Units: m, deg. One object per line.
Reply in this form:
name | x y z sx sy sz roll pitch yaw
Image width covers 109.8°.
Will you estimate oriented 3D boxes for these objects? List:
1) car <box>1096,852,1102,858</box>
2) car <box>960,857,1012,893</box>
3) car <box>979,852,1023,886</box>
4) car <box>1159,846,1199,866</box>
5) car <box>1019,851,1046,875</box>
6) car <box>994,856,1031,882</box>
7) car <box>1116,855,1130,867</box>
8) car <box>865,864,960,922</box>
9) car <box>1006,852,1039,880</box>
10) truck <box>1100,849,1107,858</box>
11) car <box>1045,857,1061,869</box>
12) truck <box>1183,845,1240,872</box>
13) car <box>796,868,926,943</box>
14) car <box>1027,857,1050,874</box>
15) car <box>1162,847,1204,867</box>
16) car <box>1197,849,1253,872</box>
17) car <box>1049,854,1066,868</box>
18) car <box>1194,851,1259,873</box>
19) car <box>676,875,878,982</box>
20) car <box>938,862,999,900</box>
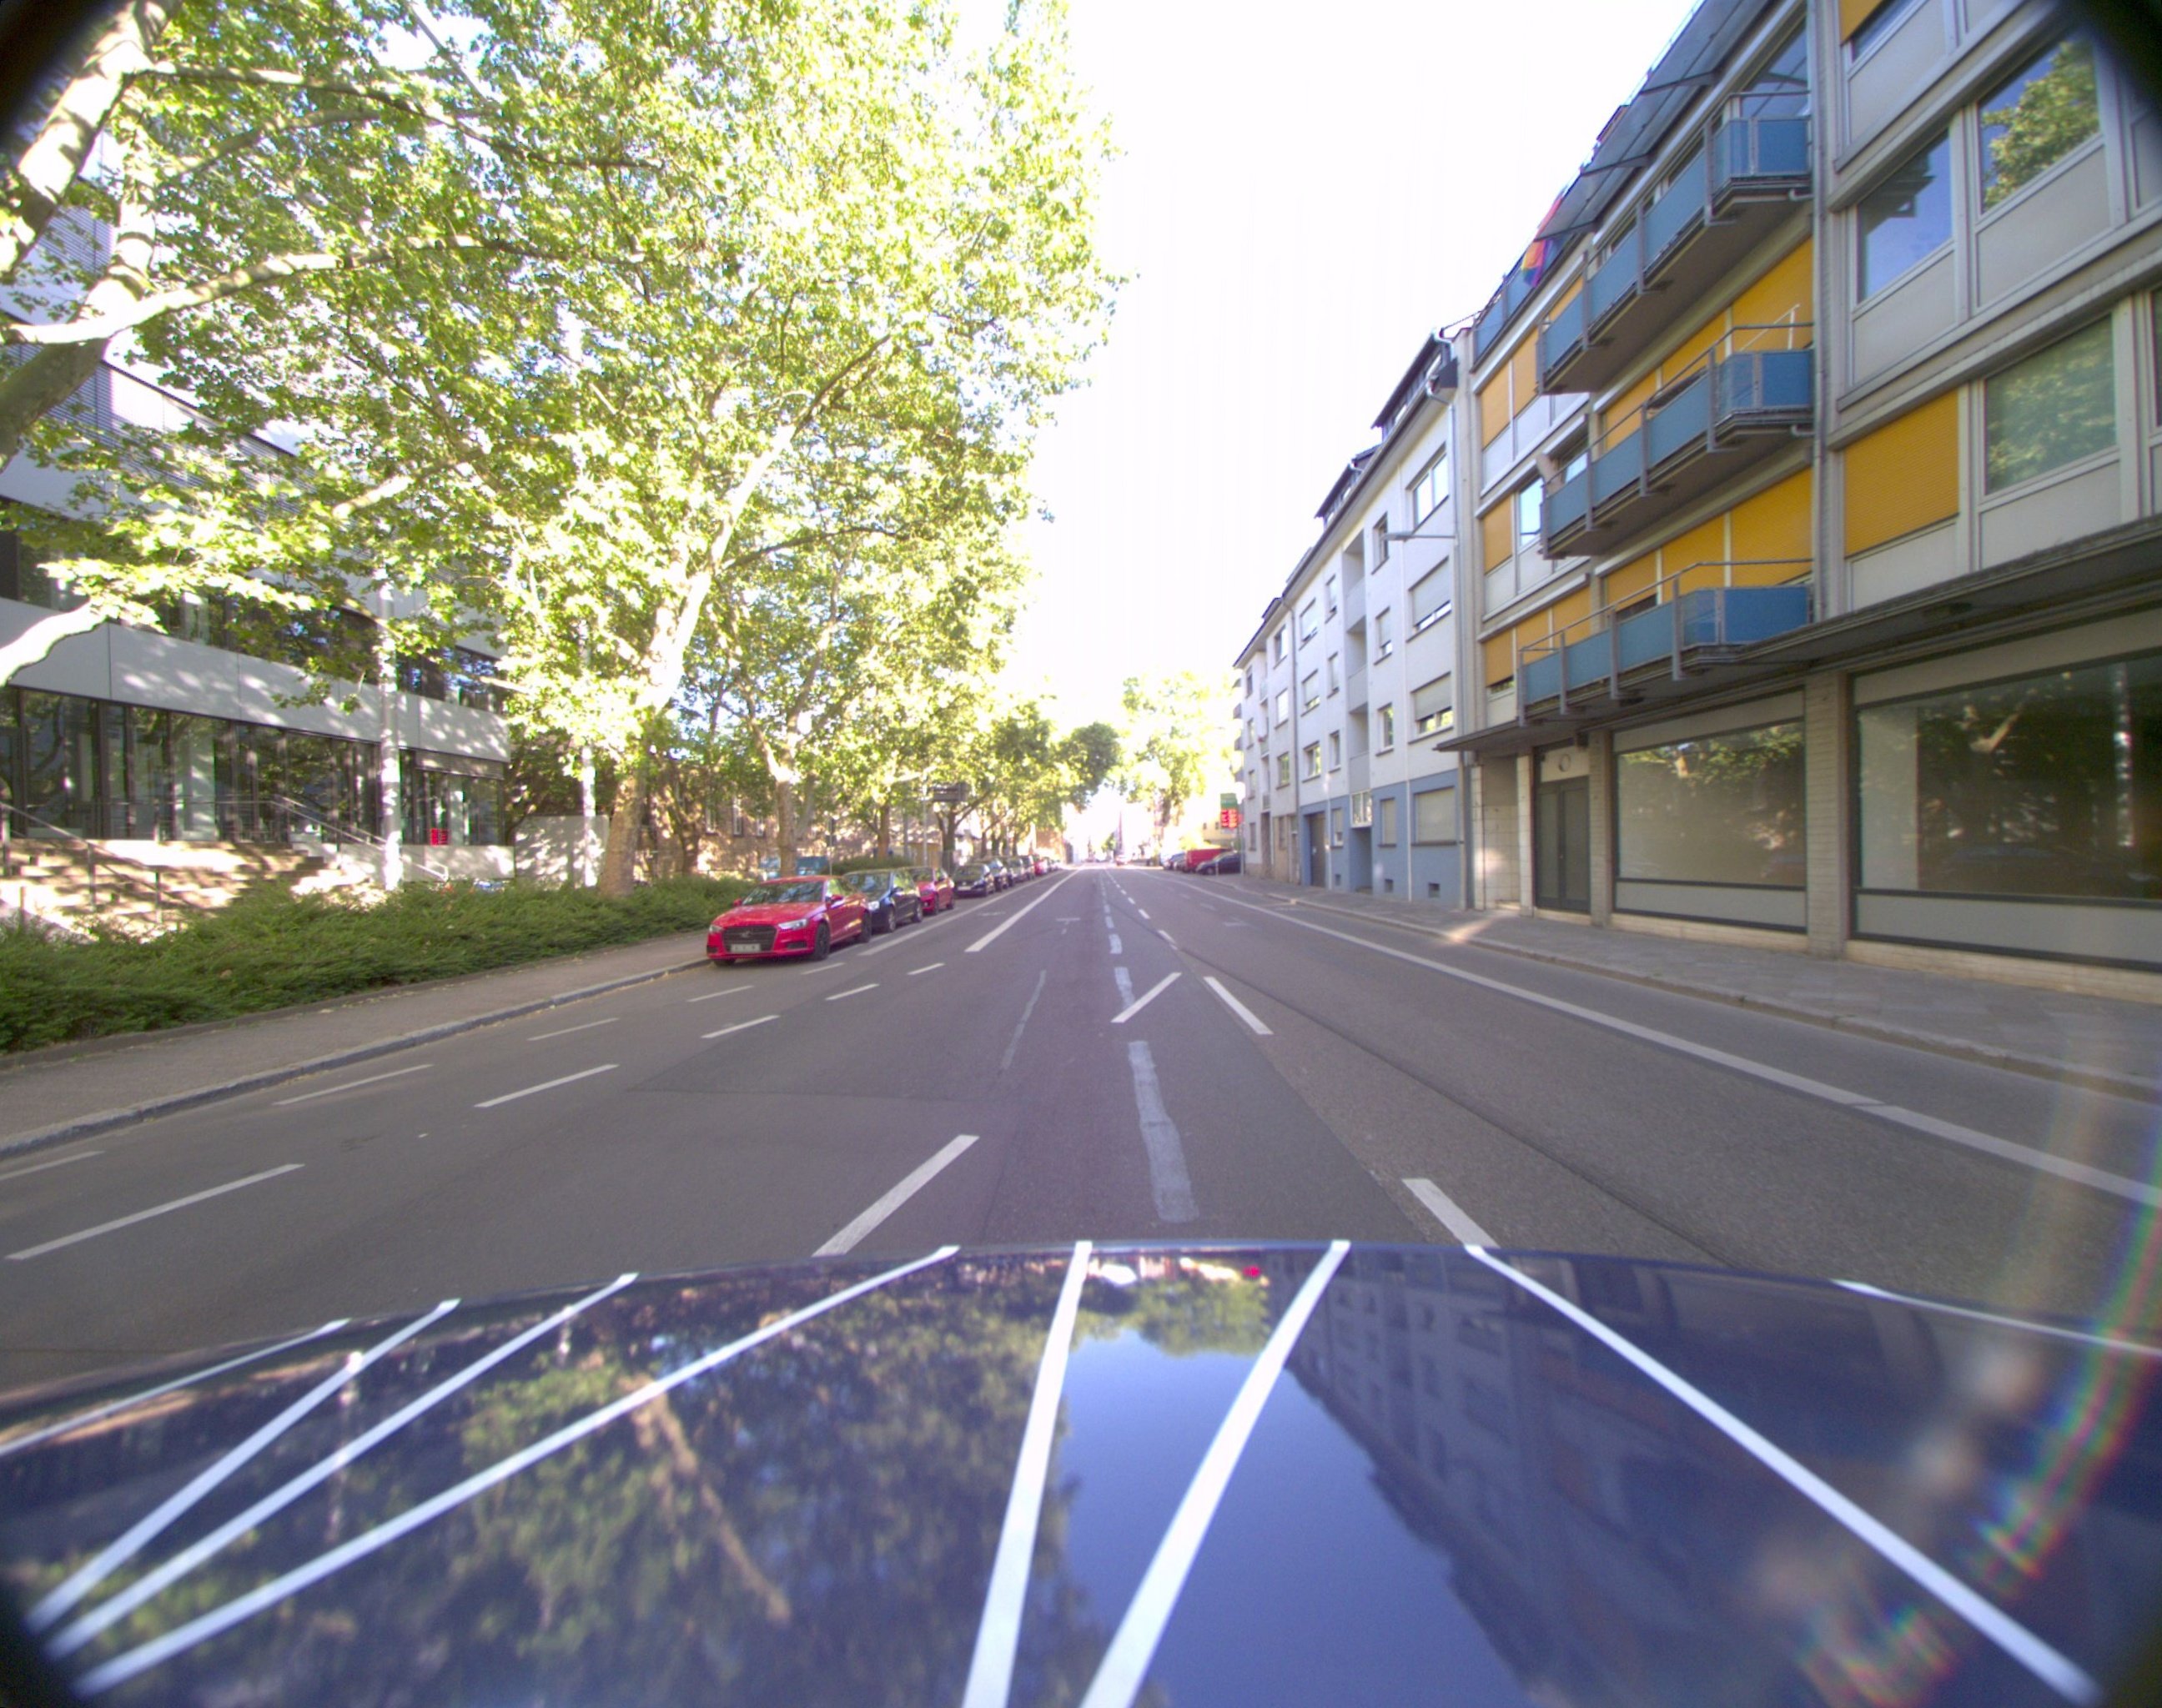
car | 6.172 0.202 259.442 1.998 2.002 3.999 -2 1 1
car | -4.682 1.007 38.109 1.998 1.592 4.142 -2 1 1
car | -4.605 0.840 44.504 1.998 1.777 4.572 -2 1 1
car | 10.953 0.219 85.300 4.236 2.025 2.000 -2 1 3
car | -4.220 0.755 66.343 1.998 1.960 3.999 -2 1 1
car | -4.550 0.951 50.877 1.998 1.557 4.142 -2 1 1
car | 6.127 1.038 110.620 1.847 1.668 4.000 1 1 2
car | -5.126 1.150 23.658 1.998 1.490 3.828 -2 1 1
car | -4.246 0.847 55.604 1.998 1.838 3.999 -2 1 1
truck | 6.883 -0.286 233.810 1.998 2.653 5.314 -2 1 0
car | -3.343 1.075 92.725 1.693 1.364 3.999 -2 1 1
truck | 10.290 0.320 60.201 4.092 1.913 2.000 -2 1 0
car | -5.169 1.168 18.413 1.998 1.452 3.644 -2 1 1
car | -4.033 1.085 71.984 1.824 1.466 3.999 -2 1 1
car | 10.867 0.284 80.900 4.236 1.945 2.000 -2 1 3
car | 10.804 0.450 57.102 3.810 1.563 1.658 -2 1 0
car | -3.181 0.912 102.995 1.998 1.682 3.999 -2 1 1
car | 10.459 0.572 54.770 4.324 1.398 1.658 -2 1 0
car | -5.185 1.197 13.625 1.907 1.417 3.999 -2 1 1
car | -4.835 1.132 33.166 1.998 1.447 3.589 -2 1 1
